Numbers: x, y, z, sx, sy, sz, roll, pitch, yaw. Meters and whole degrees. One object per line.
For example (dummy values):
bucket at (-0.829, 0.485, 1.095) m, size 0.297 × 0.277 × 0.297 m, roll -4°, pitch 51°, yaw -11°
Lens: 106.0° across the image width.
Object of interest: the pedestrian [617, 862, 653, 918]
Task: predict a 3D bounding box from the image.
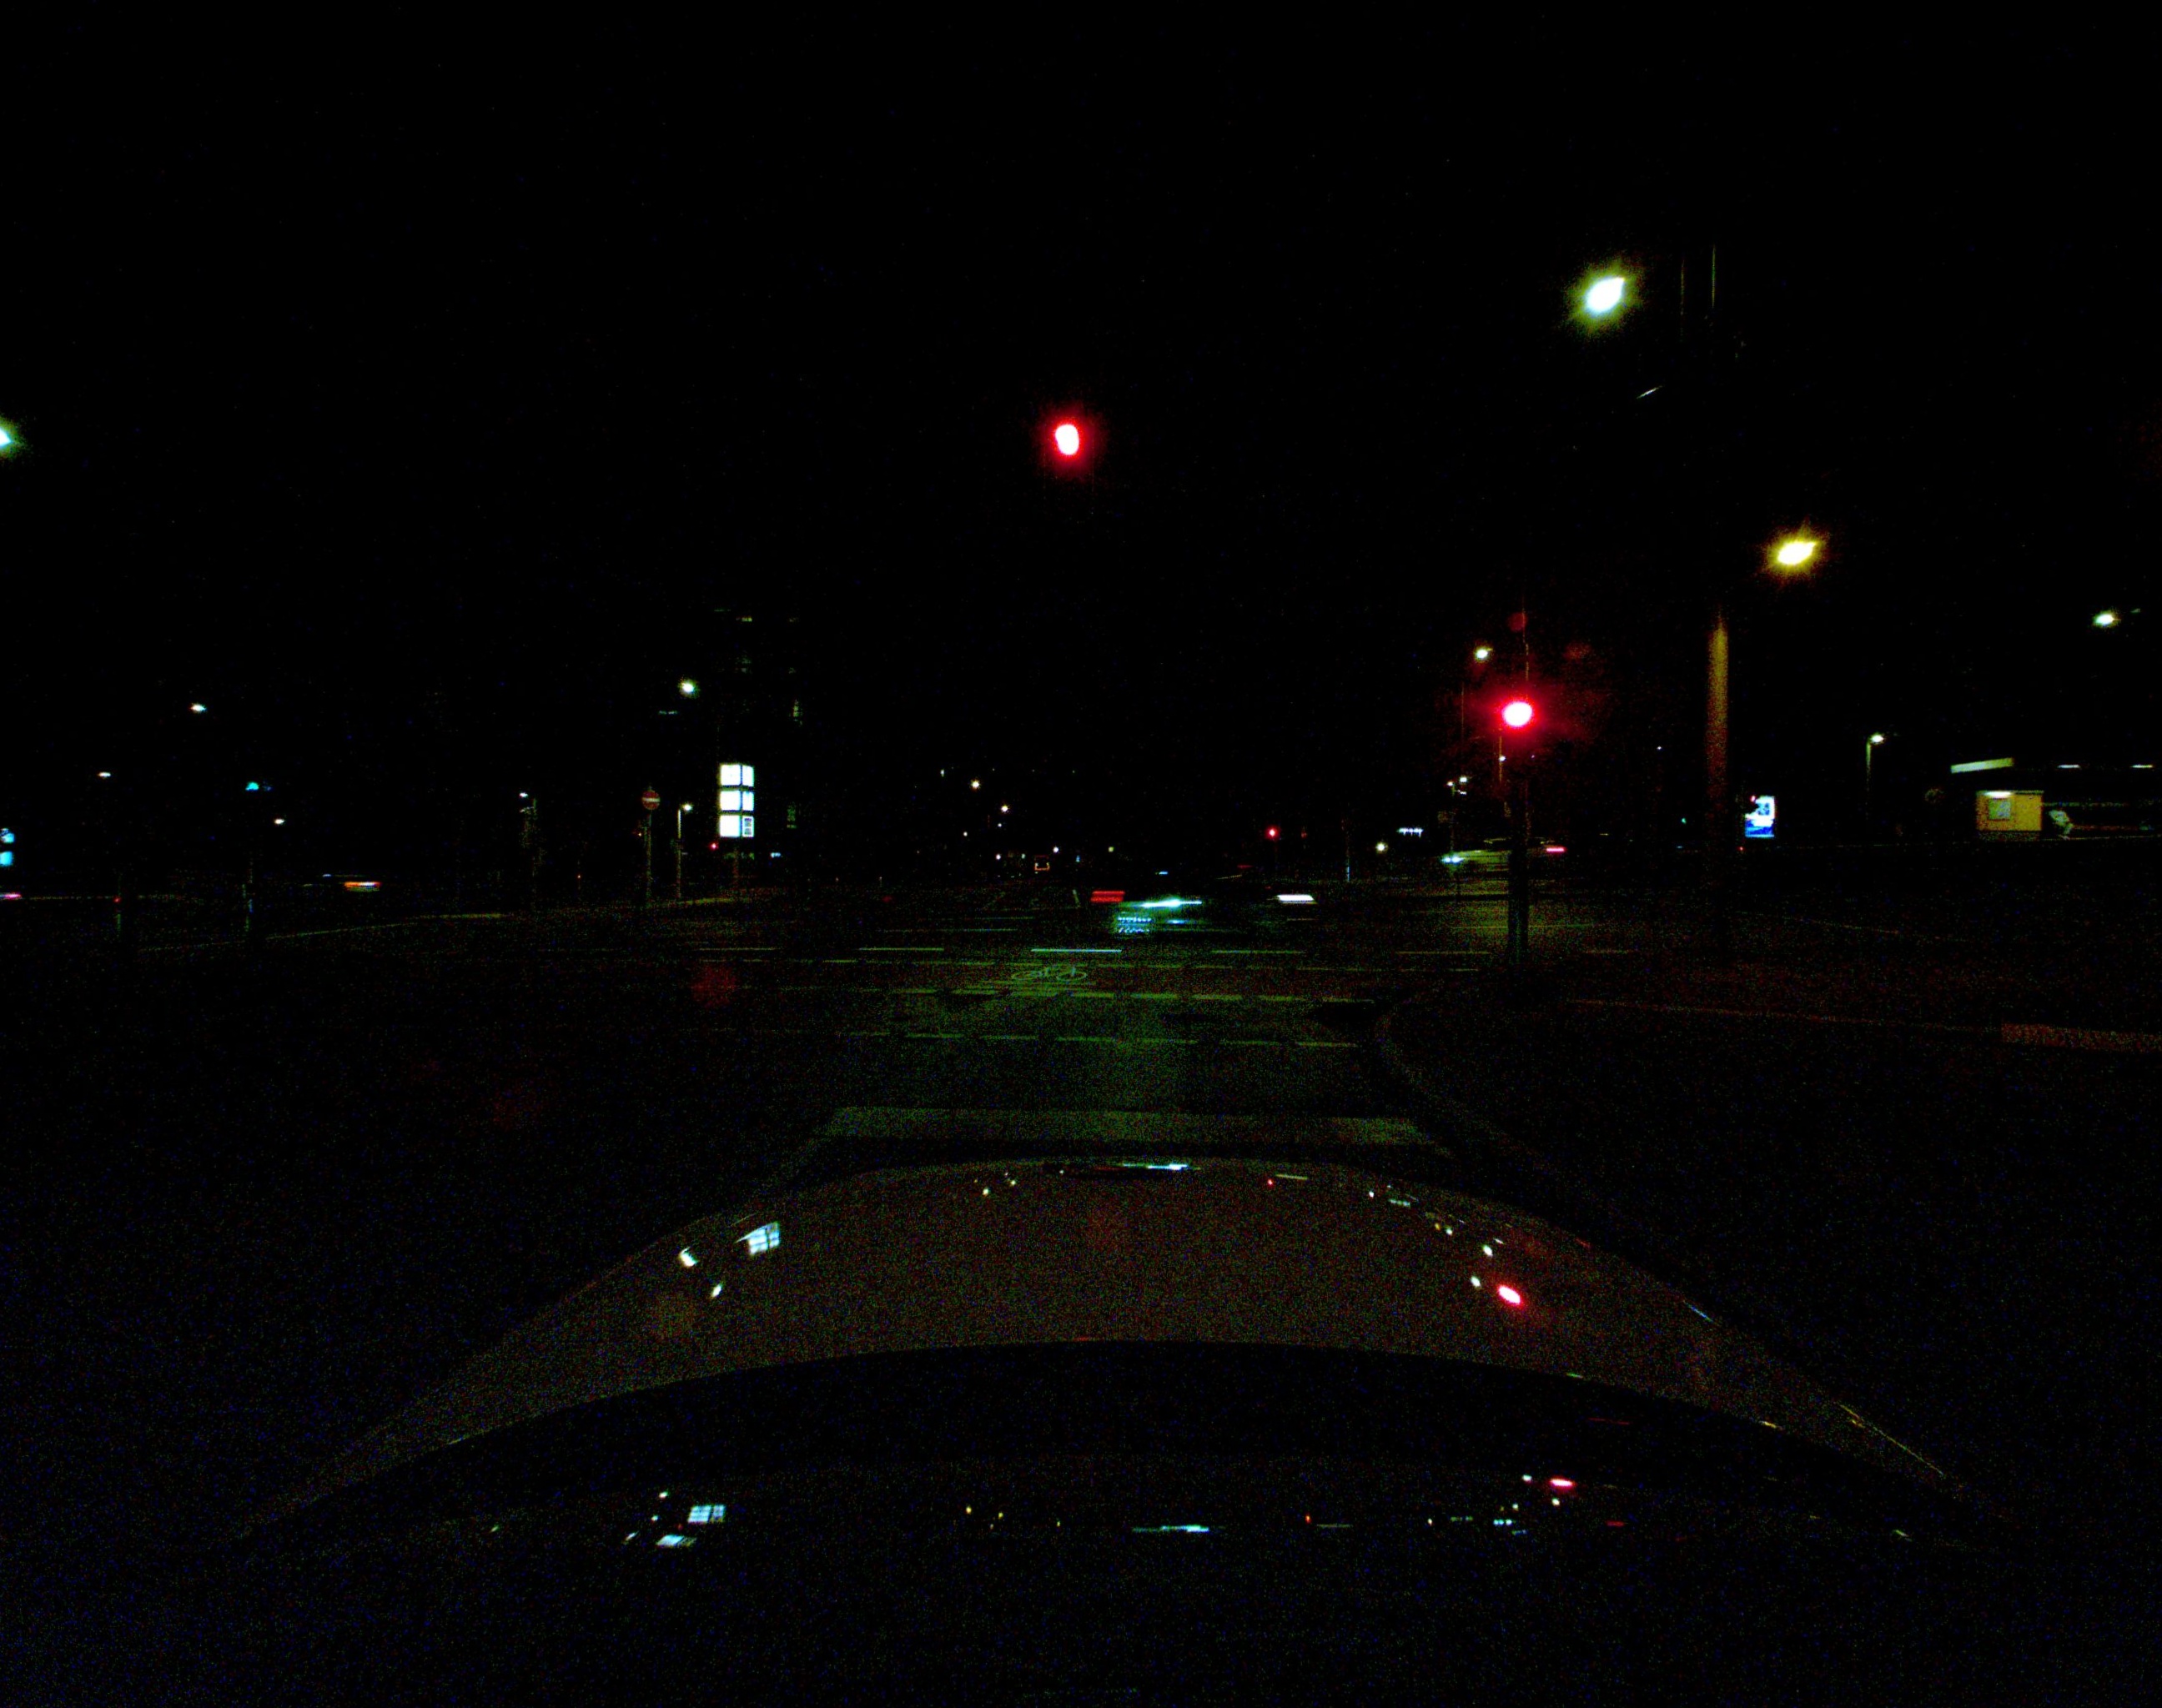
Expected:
pedestrian at (-14.012, 1.109, 25.588) m, size 0.671 × 1.722 × 0.710 m, roll -1°, pitch -2°, yaw 27°

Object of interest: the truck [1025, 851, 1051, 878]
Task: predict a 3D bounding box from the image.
truck at (-7.986, 1.934, 149.257) m, size 3.366 × 4.843 × 7.865 m, roll 0°, pitch -1°, yaw -14°

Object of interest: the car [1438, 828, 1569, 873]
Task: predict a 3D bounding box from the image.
car at (18.505, -0.124, 35.838) m, size 4.757 × 1.844 × 1.845 m, roll -1°, pitch -1°, yaw 5°

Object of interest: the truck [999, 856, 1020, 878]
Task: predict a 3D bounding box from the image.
truck at (-10.553, 1.917, 120.126) m, size 2.419 × 3.089 × 6.412 m, roll 0°, pitch -1°, yaw -11°

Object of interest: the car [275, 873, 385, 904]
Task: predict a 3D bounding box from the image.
car at (-41.190, 1.891, 44.724) m, size 4.377 × 1.644 × 1.944 m, roll 0°, pitch -1°, yaw 5°

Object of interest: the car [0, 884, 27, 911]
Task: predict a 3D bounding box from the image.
car at (-63.545, 2.469, 46.561) m, size 4.553 × 1.486 × 1.781 m, roll 0°, pitch 0°, yaw 5°

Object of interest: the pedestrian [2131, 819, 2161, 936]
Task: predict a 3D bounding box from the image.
pedestrian at (15.835, 0.300, 11.541) m, size 0.870 × 1.656 × 0.843 m, roll -7°, pitch -5°, yaw 42°

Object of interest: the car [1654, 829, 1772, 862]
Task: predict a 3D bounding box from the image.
car at (29.656, -0.397, 38.315) m, size 4.041 × 1.424 × 1.846 m, roll -1°, pitch 1°, yaw 5°

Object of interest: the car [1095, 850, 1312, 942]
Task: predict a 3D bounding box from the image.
car at (2.258, 0.758, 15.575) m, size 3.861 × 1.473 × 1.660 m, roll -2°, pitch 2°, yaw 2°

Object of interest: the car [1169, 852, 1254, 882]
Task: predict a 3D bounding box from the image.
car at (6.853, 0.690, 43.080) m, size 4.306 × 1.388 × 1.845 m, roll -2°, pitch -1°, yaw 5°

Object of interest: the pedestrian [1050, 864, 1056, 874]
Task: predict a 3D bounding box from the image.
pedestrian at (-5.082, 2.725, 147.784) m, size 0.851 × 1.912 × 1.001 m, roll 0°, pitch -1°, yaw -16°
